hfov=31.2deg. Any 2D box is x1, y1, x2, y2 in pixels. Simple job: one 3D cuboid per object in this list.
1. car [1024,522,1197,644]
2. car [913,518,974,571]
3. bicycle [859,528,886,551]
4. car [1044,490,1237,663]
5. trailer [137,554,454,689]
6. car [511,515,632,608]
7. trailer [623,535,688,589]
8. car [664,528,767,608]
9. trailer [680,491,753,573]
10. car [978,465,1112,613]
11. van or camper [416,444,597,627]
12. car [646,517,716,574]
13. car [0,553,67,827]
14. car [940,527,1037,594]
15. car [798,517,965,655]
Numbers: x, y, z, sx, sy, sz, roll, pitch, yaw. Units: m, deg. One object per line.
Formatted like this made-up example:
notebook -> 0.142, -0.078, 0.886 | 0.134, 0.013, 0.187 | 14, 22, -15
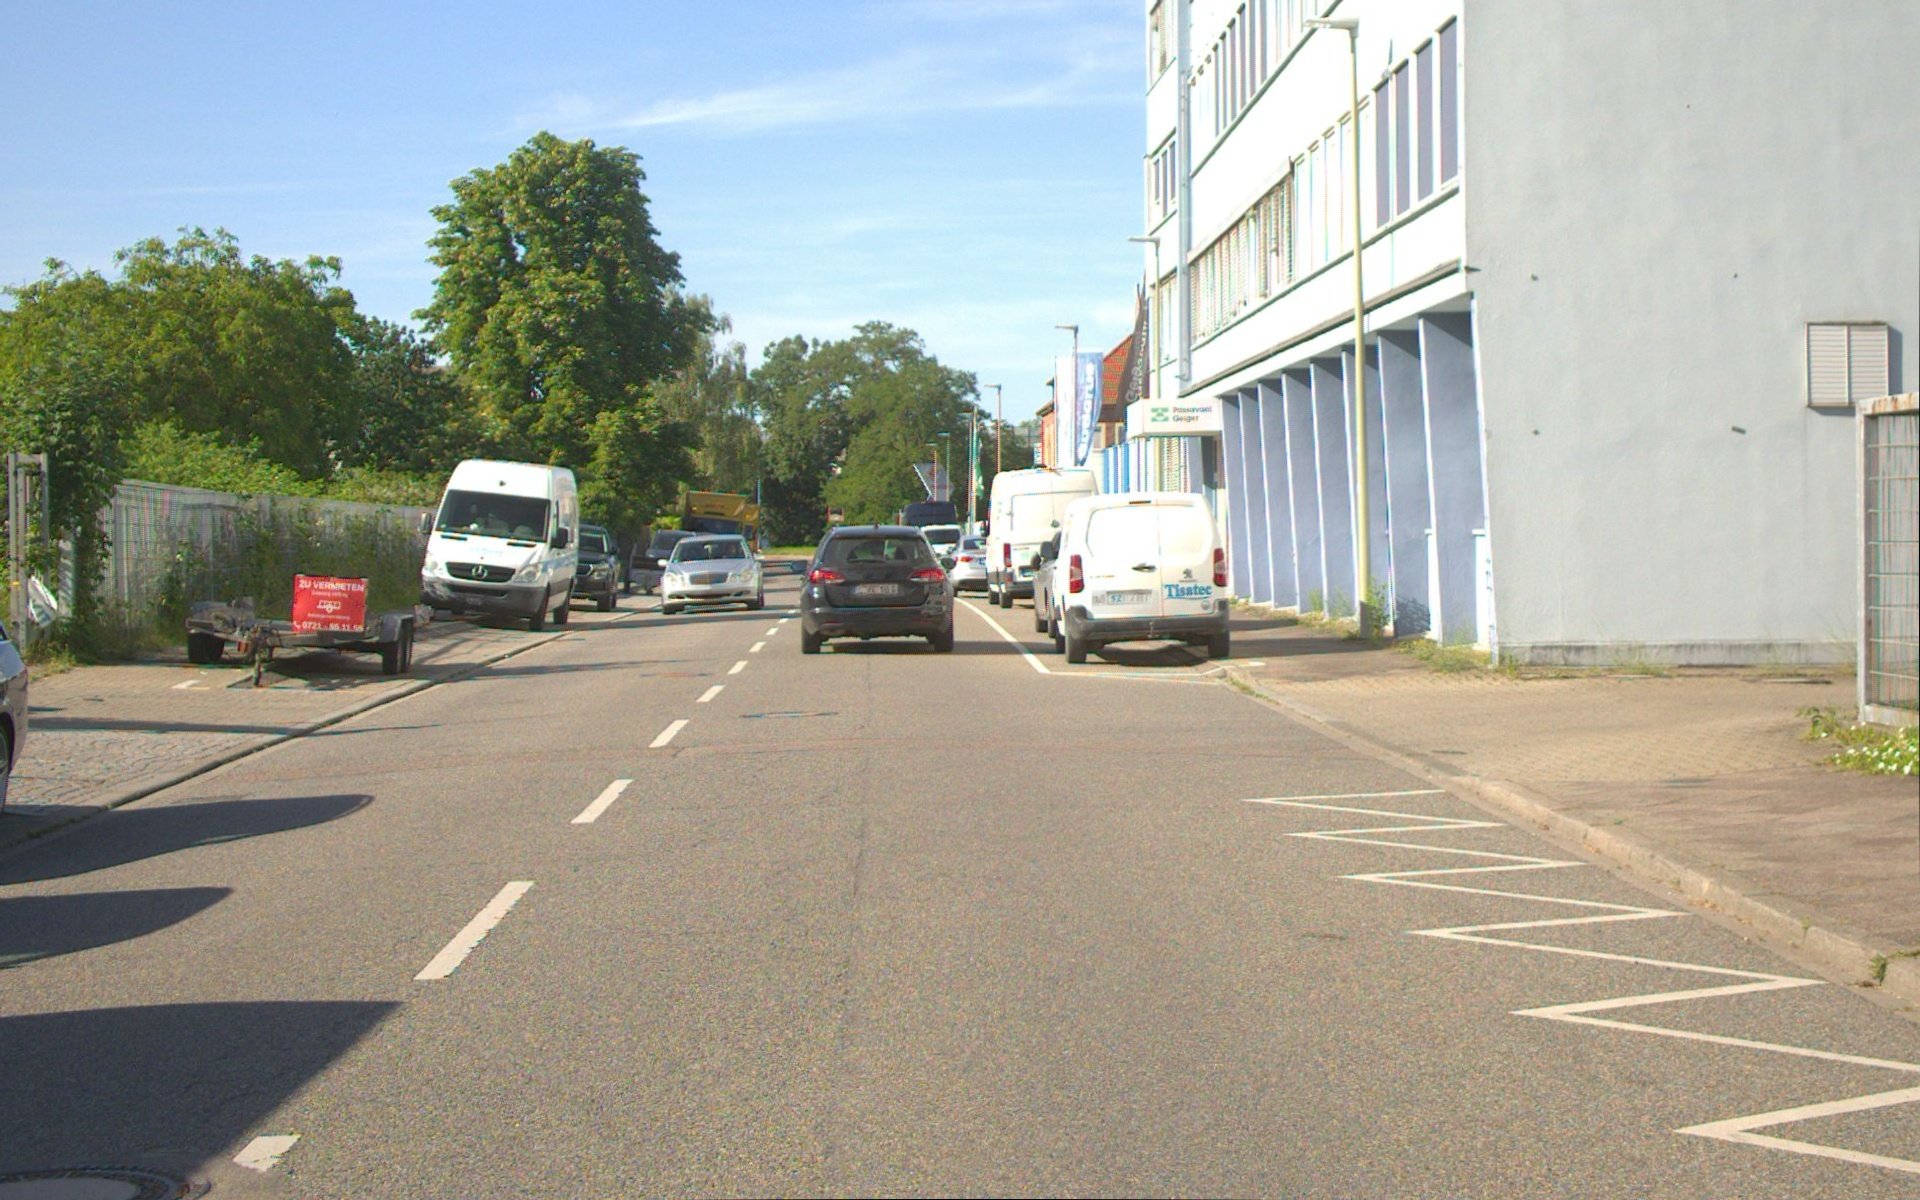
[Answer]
car -> 1.978, -0.264, 46.609 | 1.889, 1.555, 5.091 | 0, 1, -3
car -> -0.614, -1.932, 120.609 | 1.885, 1.791, 5.104 | 1, 1, -3
bicycle -> -4.932, -3.400, 193.958 | 0.803, 1.263, 2.259 | 1, 1, -20
car -> 1.970, -0.295, 38.894 | 1.889, 1.826, 5.091 | 0, 1, 0
trailer -> -7.059, 0.171, 37.265 | 2.376, 1.076, 6.246 | 3, 2, -2
car -> -7.773, -0.802, 69.142 | 2.030, 1.688, 5.108 | 4, 1, -3
trailer -> -7.992, -1.003, 90.372 | 1.476, 1.349, 3.079 | 1, 1, -2
car -> -4.587, -0.627, 64.983 | 1.747, 1.442, 4.361 | 0, 1, -2
trailer -> -10.550, -2.935, 149.395 | 2.991, 3.431, 8.163 | 0, 1, -3
car -> 1.542, -1.197, 64.677 | 1.993, 2.589, 6.052 | -2, 2, -3
van or camper -> -7.318, -1.064, 56.033 | 1.966, 2.676, 5.948 | 5, 1, 0
car -> -8.761, -1.736, 108.368 | 1.791, 1.725, 4.802 | -1, 1, 0
car -> -6.211, 0.496, 17.960 | 1.799, 1.505, 5.003 | 3, 1, -1
car -> 0.594, -0.875, 76.278 | 1.894, 1.400, 5.125 | 1, 1, -2
car -> -0.915, -0.198, 40.547 | 1.847, 1.525, 4.000 | -1, 1, -1
